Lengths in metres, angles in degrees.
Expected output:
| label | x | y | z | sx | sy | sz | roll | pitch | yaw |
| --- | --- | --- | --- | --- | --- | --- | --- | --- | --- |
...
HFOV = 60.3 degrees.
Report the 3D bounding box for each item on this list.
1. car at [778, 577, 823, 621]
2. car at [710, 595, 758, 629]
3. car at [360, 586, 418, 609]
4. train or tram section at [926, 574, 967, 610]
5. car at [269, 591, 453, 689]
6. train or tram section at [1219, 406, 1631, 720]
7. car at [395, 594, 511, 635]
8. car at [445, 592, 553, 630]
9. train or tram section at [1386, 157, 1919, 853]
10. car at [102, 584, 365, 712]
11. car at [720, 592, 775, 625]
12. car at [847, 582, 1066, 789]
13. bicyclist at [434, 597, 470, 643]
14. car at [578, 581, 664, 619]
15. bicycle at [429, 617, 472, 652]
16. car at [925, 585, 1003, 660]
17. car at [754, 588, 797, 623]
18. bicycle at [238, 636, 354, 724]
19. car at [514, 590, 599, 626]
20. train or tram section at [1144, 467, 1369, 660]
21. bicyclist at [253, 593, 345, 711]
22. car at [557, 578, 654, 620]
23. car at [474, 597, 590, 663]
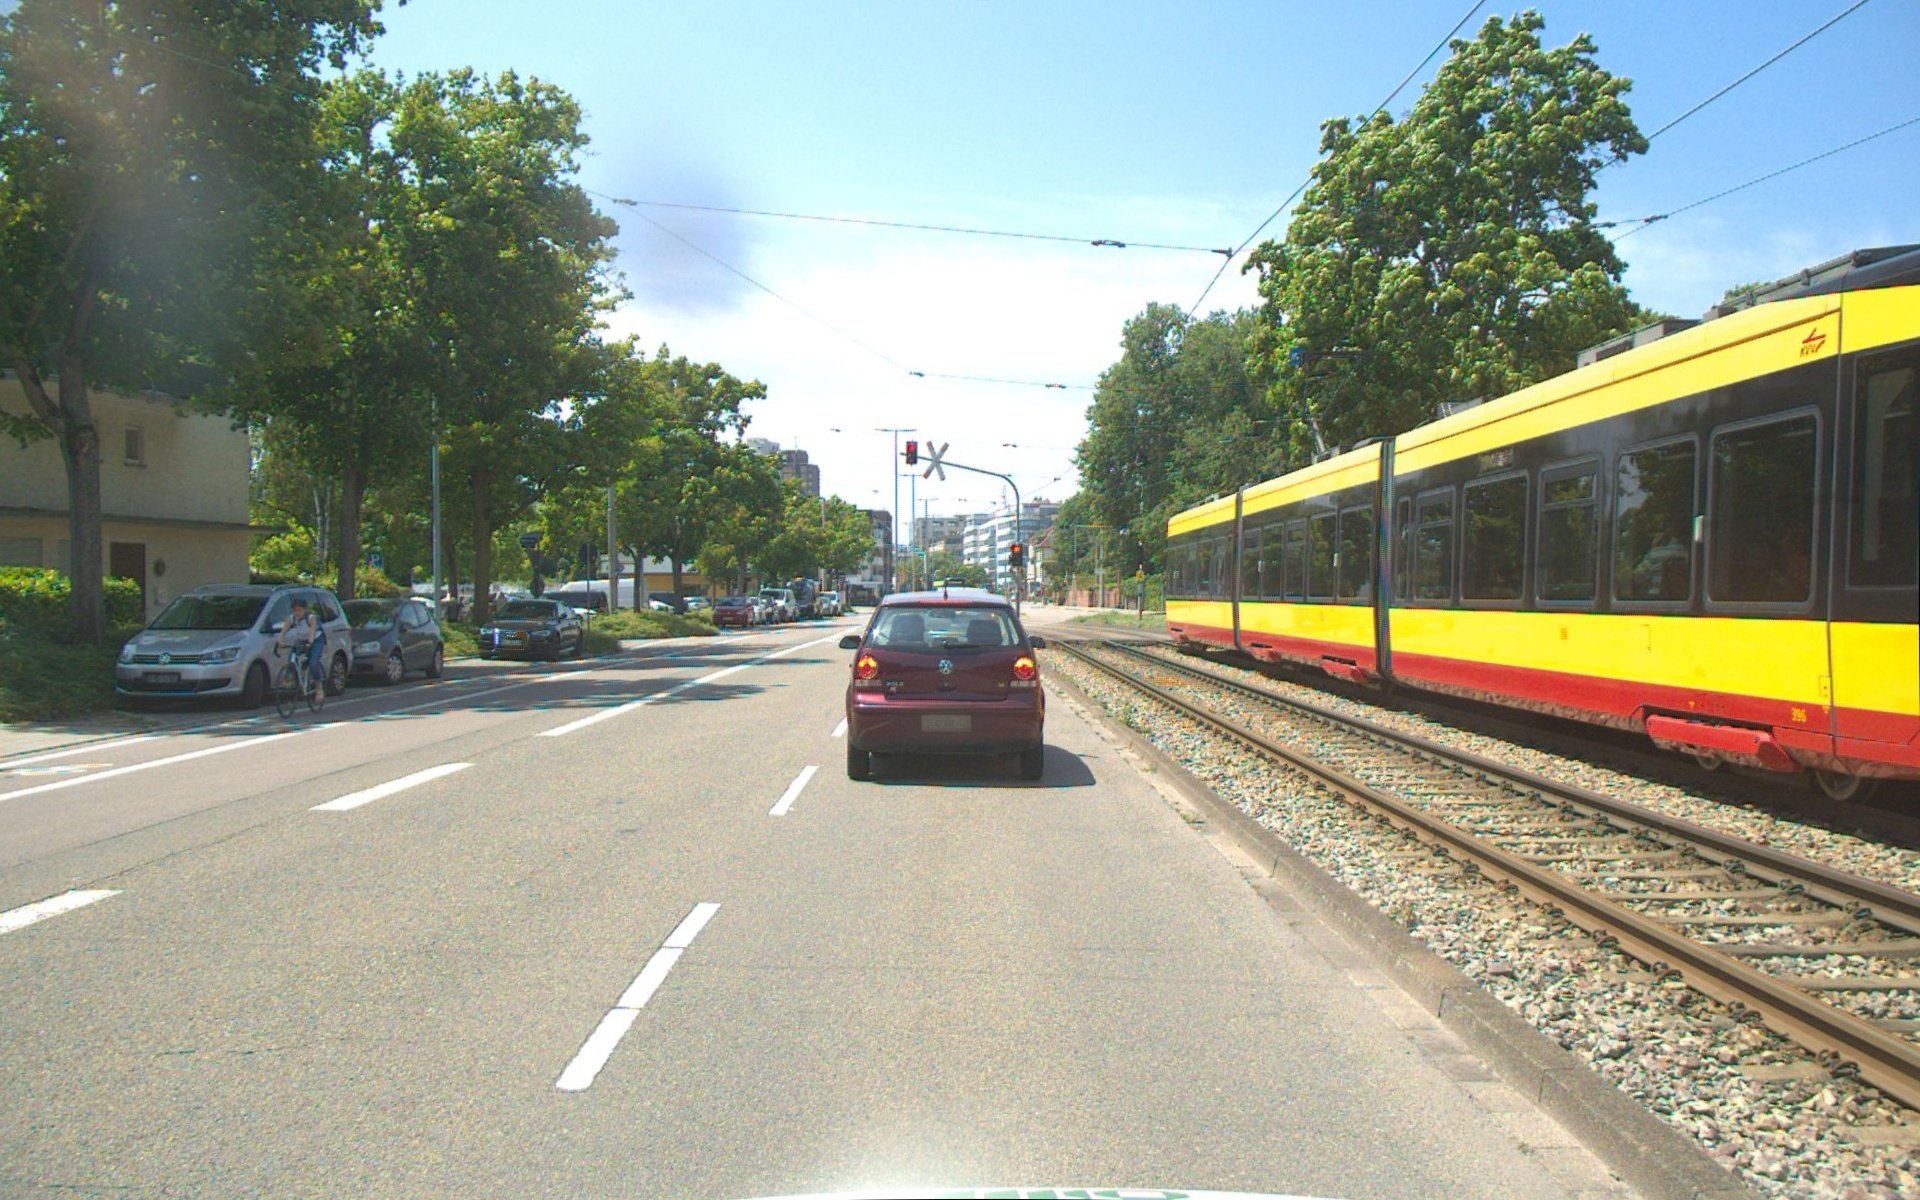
| label | x | y | z | sx | sy | sz | roll | pitch | yaw |
| --- | --- | --- | --- | --- | --- | --- | --- | --- | --- |
| car | -10.478 | -0.023 | 109.010 | 2.313 | 2.739 | 5.307 | 2 | -1 | 0 |
| car | -10.783 | 0.595 | 79.172 | 1.628 | 1.523 | 4.000 | 2 | -1 | 1 |
| car | -45.095 | -0.177 | 130.651 | 3.938 | 1.645 | 1.816 | 2 | -1 | 0 |
| train or tram section | -1.506 | -0.898 | 175.887 | 2.689 | 3.672 | 12.849 | 2 | 0 | -7 |
| car | -10.542 | 0.655 | 29.450 | 1.782 | 1.592 | 4.180 | 1 | 0 | -1 |
| train or tram section | 6.773 | -0.491 | 26.975 | 2.966 | 3.864 | 13.088 | 0 | 0 | 0 |
| car | -21.197 | 0.592 | 69.300 | 4.256 | 1.612 | 1.912 | -1 | 0 | -3 |
| car | -20.694 | 0.502 | 74.404 | 4.251 | 1.612 | 1.914 | -1 | 0 | 5 |
| train or tram section | 6.796 | -0.559 | 13.948 | 2.966 | 3.864 | 13.088 | 0 | 0 | 0 |
| car | -10.532 | 0.623 | 24.415 | 1.834 | 1.693 | 4.780 | 0 | 1 | -1 |
| car | -10.963 | 0.450 | 85.720 | 1.934 | 1.629 | 4.560 | 2 | -1 | 4 |
| car | -0.071 | 0.642 | 14.624 | 1.638 | 1.548 | 3.999 | 1 | 0 | -1 |
| bicyclist | -15.859 | 0.628 | 51.641 | 0.792 | 1.398 | 0.828 | 1 | -1 | 2 |
| car | -21.861 | 0.007 | 106.765 | 4.992 | 2.284 | 2.378 | 2 | -1 | 0 |
| bicycle | -15.882 | 1.079 | 51.597 | 0.686 | 1.048 | 1.829 | 1 | -1 | 3 |
| car | 0.052 | 0.497 | 39.551 | 1.741 | 1.676 | 3.999 | 1 | 0 | -1 |
| car | -10.651 | 0.326 | 95.963 | 1.746 | 1.914 | 4.787 | 2 | -1 | 2 |
| bicycle | -8.643 | 1.019 | 21.625 | 0.688 | 0.968 | 2.242 | -3 | 1 | -3 |
| car | -20.738 | 0.392 | 85.148 | 3.906 | 1.776 | 1.998 | -1 | 0 | -2 |
| train or tram section | 6.702 | -0.765 | 39.791 | 2.966 | 3.864 | 12.758 | 0 | 0 | -1 |
| bicyclist | -8.643 | 0.665 | 21.675 | 0.720 | 1.455 | 1.124 | -3 | 0 | -4 |
| car | -20.486 | -0.049 | 95.810 | 4.992 | 2.284 | 2.378 | 2 | -1 | 0 |
| car | -10.633 | 0.703 | 41.423 | 1.782 | 1.502 | 4.448 | 1 | 0 | -1 |
